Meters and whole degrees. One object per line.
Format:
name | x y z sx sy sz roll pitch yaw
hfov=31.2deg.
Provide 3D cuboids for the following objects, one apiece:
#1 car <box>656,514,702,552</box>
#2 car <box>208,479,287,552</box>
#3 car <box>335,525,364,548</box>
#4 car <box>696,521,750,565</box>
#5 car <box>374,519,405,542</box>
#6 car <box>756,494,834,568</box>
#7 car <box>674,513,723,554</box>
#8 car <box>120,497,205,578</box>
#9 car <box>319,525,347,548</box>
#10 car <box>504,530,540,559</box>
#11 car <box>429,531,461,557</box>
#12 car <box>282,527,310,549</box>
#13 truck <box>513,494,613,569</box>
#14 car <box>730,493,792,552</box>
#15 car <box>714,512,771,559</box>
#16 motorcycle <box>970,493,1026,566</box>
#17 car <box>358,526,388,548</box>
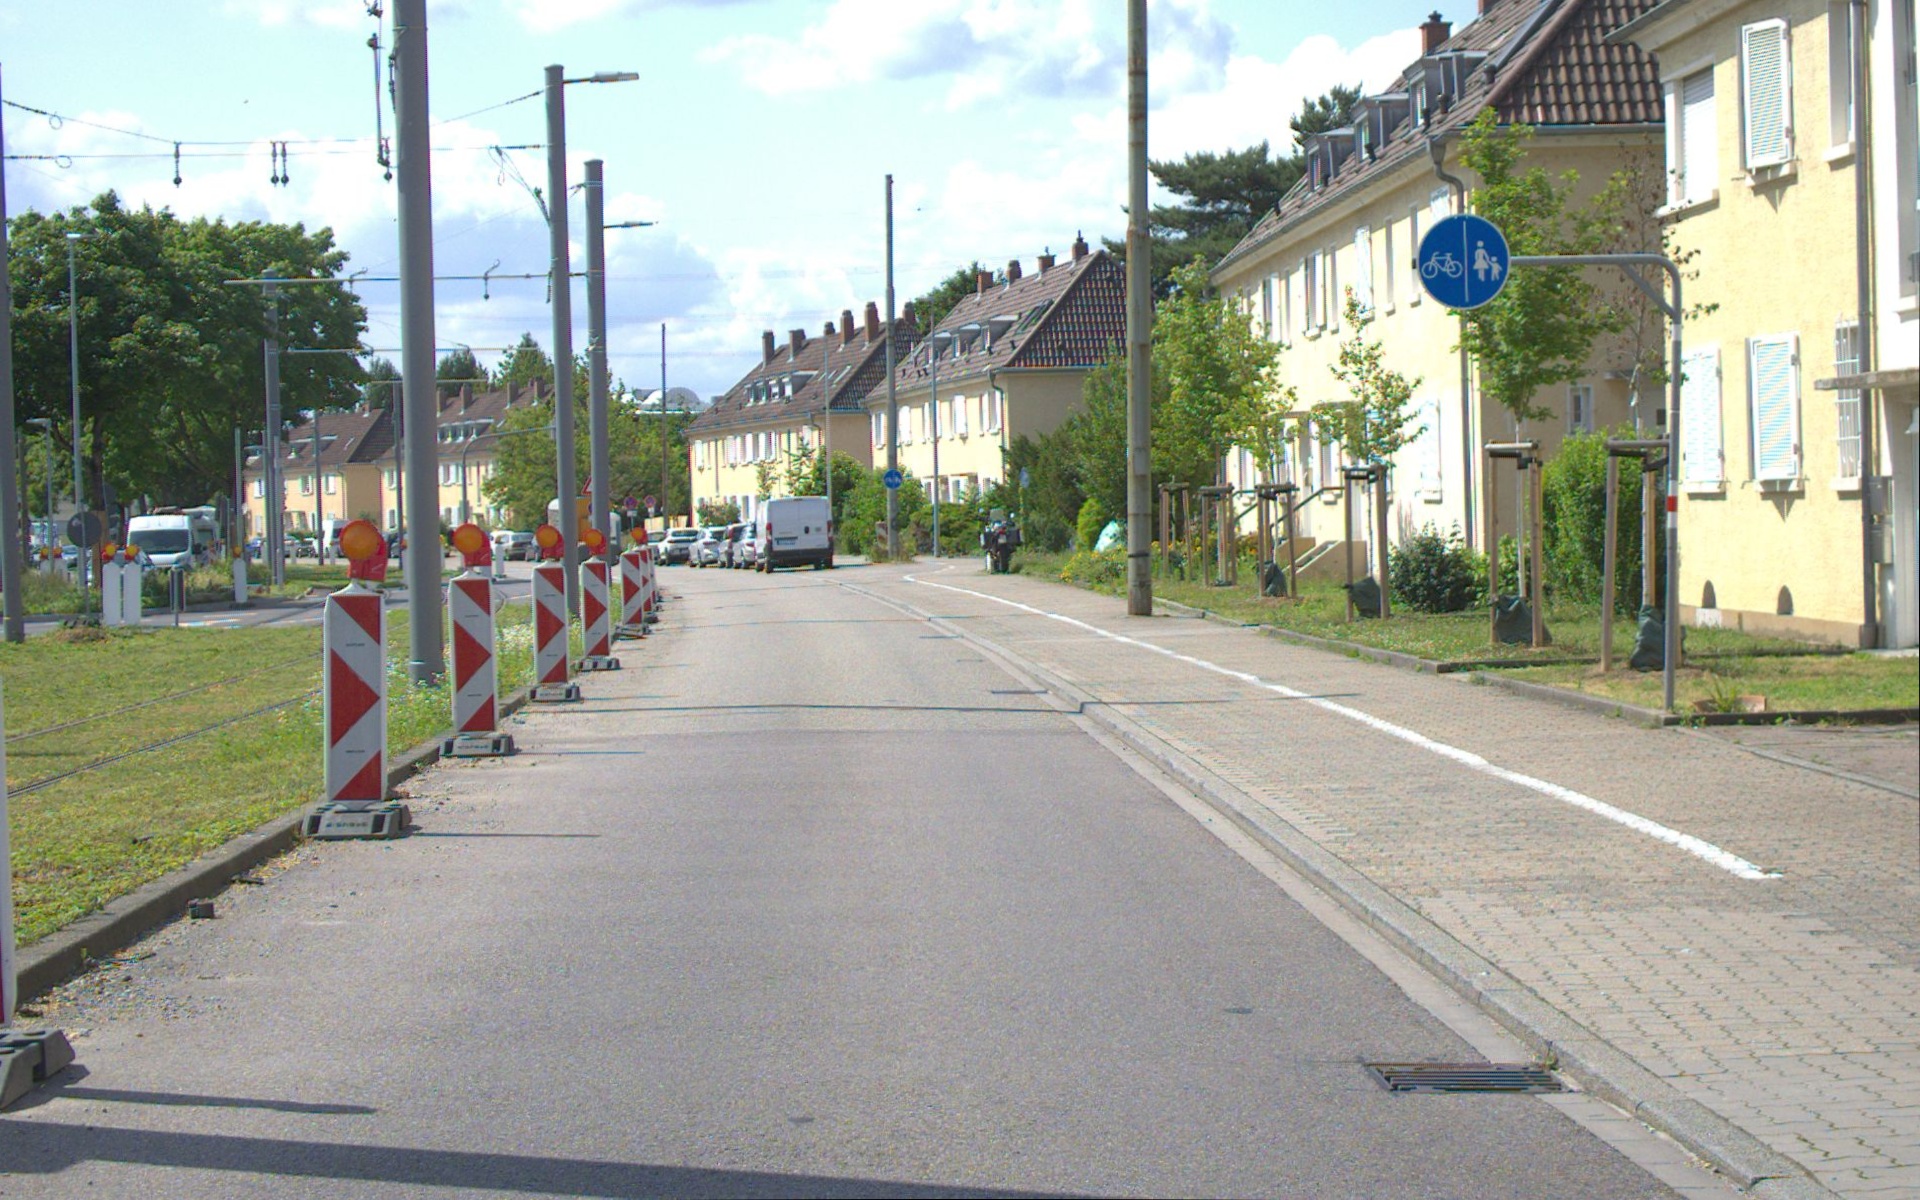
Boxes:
car | -11.713 -2.786 143.180 1.567 1.546 3.480 -2 1 -10
car | -24.210 -2.876 116.693 2.406 2.362 4.881 -2 2 -13
car | -38.775 -4.013 218.267 1.165 1.421 2.666 -2 1 -24
car | -8.640 -2.073 125.100 1.567 1.546 3.790 -2 1 -10
car | -34.928 -4.221 210.318 1.257 1.346 2.666 -2 1 -23
car | -5.058 -2.109 104.853 2.065 2.141 4.879 -2 1 -6
car | -10.427 -2.654 137.059 1.567 1.546 3.480 -2 1 -10
car | -24.250 -1.905 104.513 2.406 2.330 4.881 -2 1 -13
car | -40.581 -4.117 222.371 1.165 1.421 2.666 -2 1 -24
car | -22.783 -2.883 178.678 1.257 1.421 2.666 -2 1 -20
car | -29.796 -3.244 198.831 1.257 1.421 2.666 -2 1 -21
car | -44.907 -4.168 232.577 1.257 1.421 2.666 -2 2 -24
truck | -19.282 -3.283 166.329 2.640 3.482 9.440 -2 1 -19
car | -6.644 -2.569 114.436 1.567 1.891 3.790 -2 1 -10
car | -7.583 -2.256 119.653 1.567 1.546 3.790 -2 1 -10
motorcycle | 0.866 -1.630 79.072 1.066 1.630 2.084 -2 1 -4
car | -36.581 -3.917 214.119 1.257 1.346 2.666 -2 1 -23
